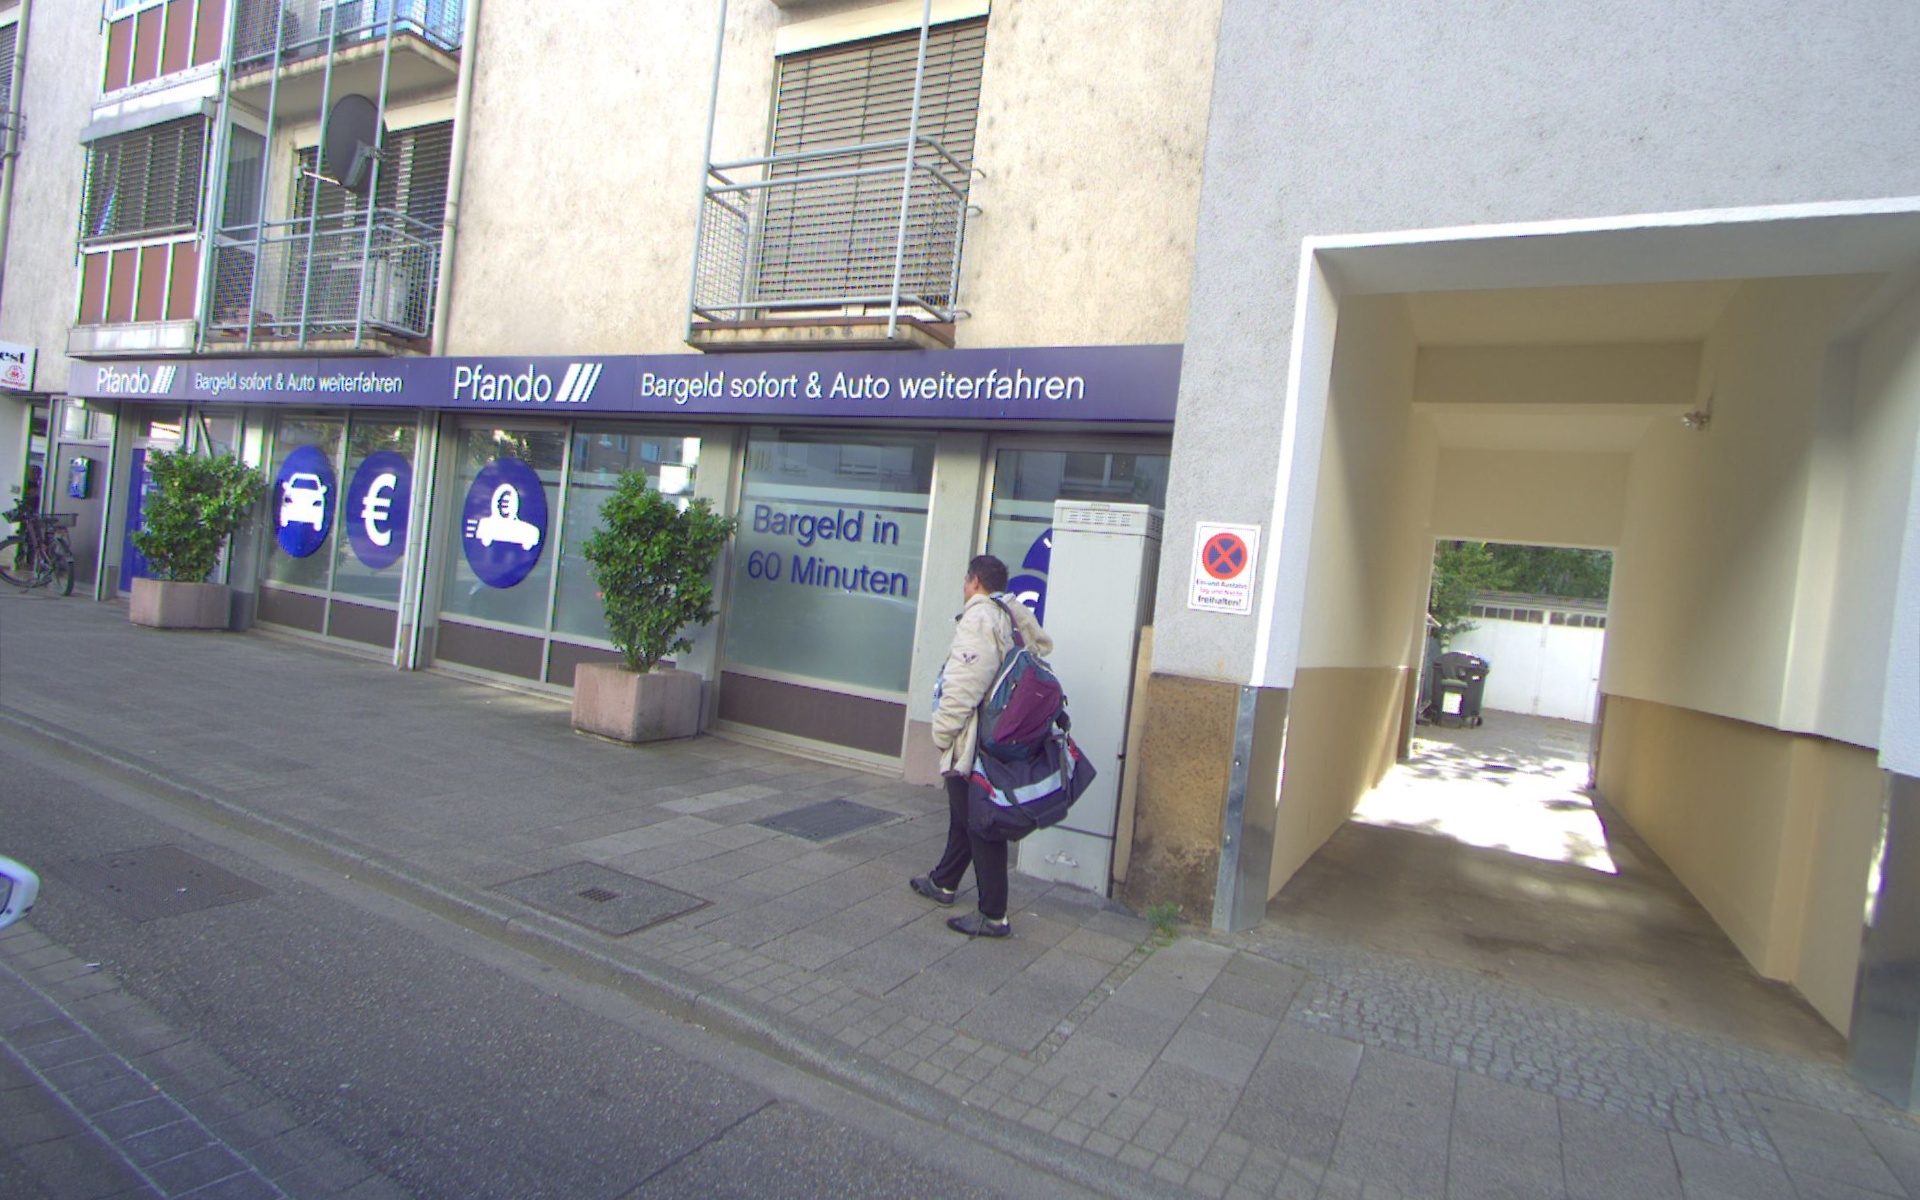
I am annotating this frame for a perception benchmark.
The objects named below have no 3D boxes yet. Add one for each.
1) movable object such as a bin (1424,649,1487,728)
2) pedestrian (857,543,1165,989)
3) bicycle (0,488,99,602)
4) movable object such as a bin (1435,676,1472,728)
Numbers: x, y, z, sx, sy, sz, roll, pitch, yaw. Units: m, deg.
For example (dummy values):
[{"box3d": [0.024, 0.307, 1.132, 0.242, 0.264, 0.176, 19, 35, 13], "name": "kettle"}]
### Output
[{"box3d": [10.100, 1.777, 20.471, 0.945, 1.426, 1.598, 7, 1, 29], "name": "movable object such as a bin"}, {"box3d": [0.238, 0.621, 4.294, 0.853, 1.593, 0.874, 8, 3, 29], "name": "pedestrian"}, {"box3d": [-11.855, -0.733, 12.891, 1.879, 1.280, 0.640, 7, 1, 32], "name": "bicycle"}, {"box3d": [9.549, 1.970, 19.468, 0.518, 0.922, 0.580, 7, 1, 29], "name": "movable object such as a bin"}]
